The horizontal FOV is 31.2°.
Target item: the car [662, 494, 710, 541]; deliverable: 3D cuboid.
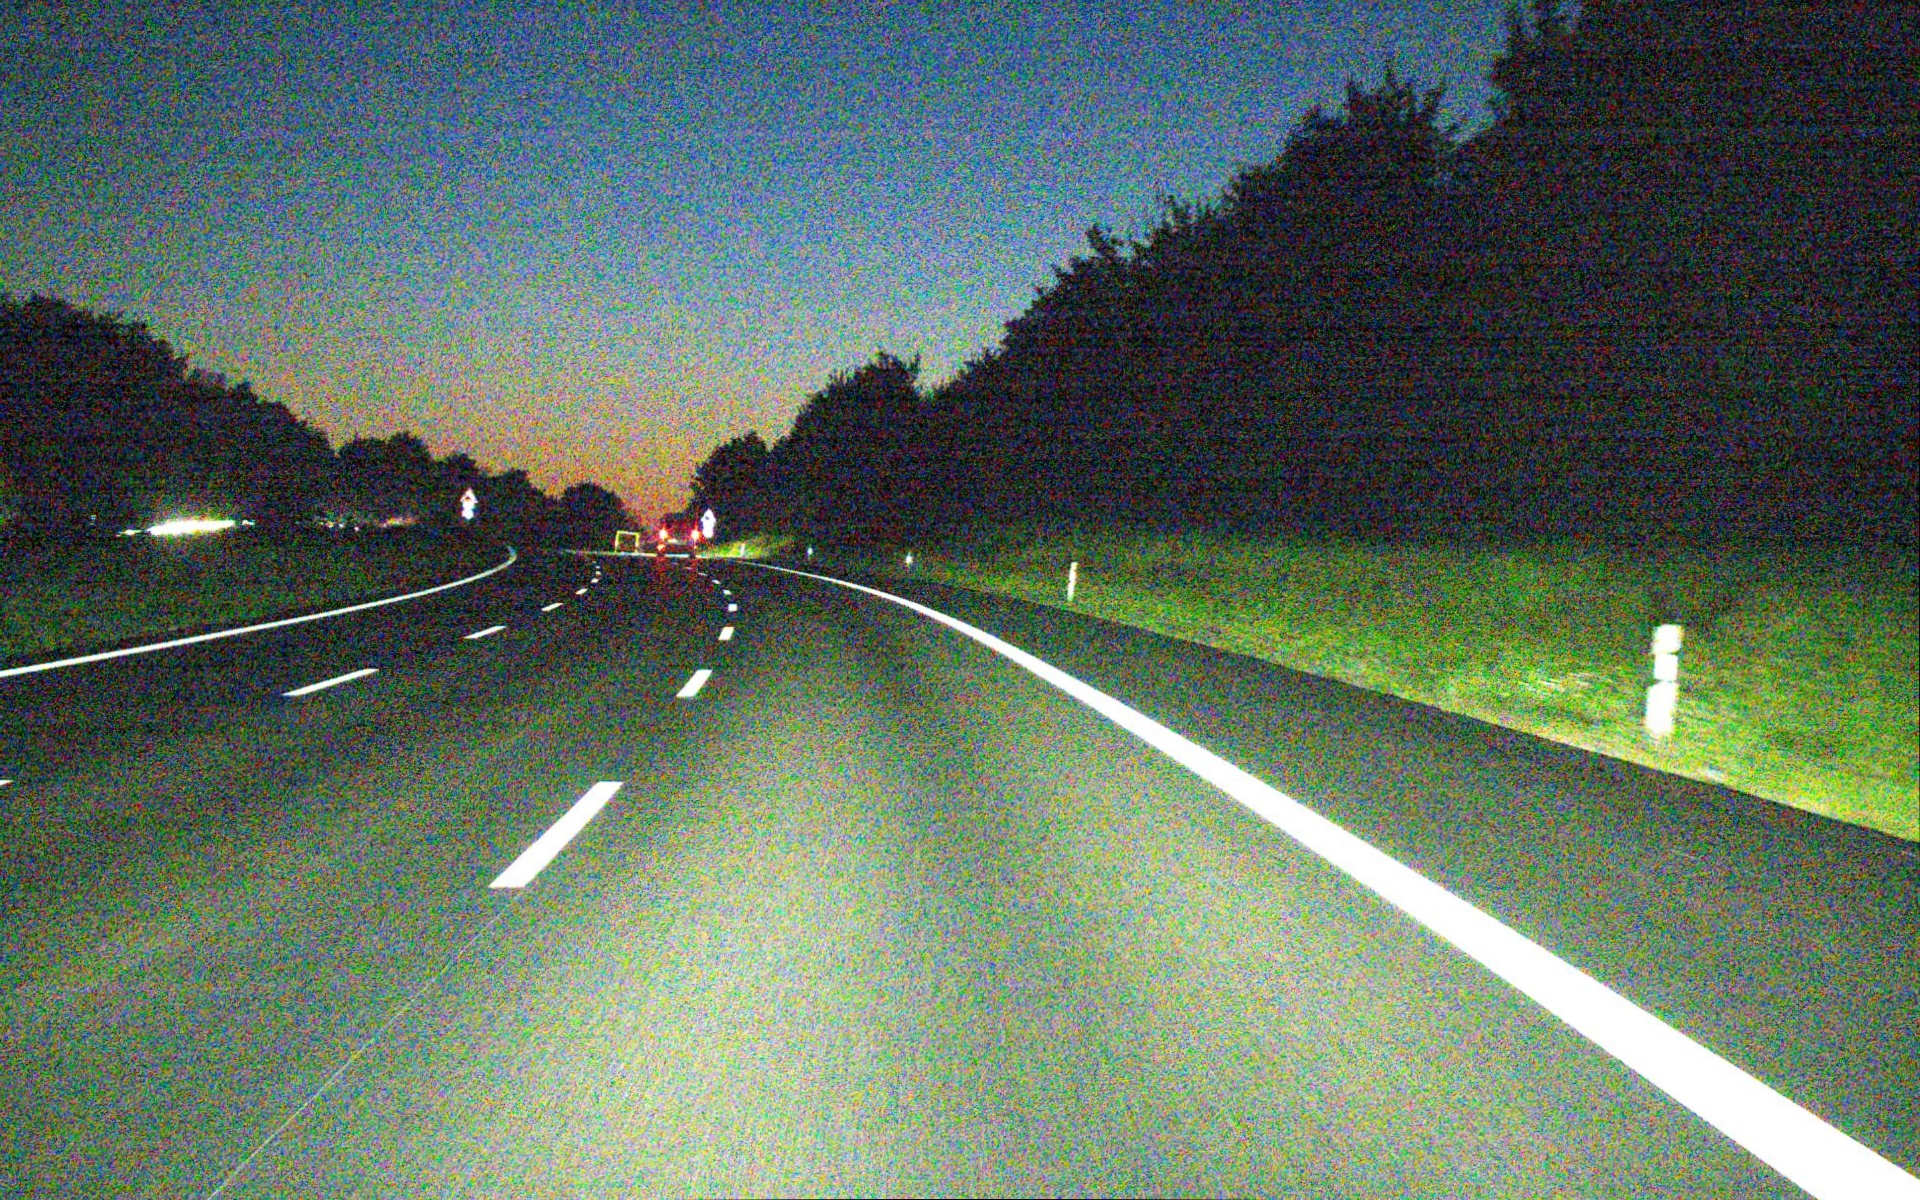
[{"bbox_3d":[-15.694,-4.686,196.611,2.527,2.544,6.052,3,1,-6],"label":"car"}]
